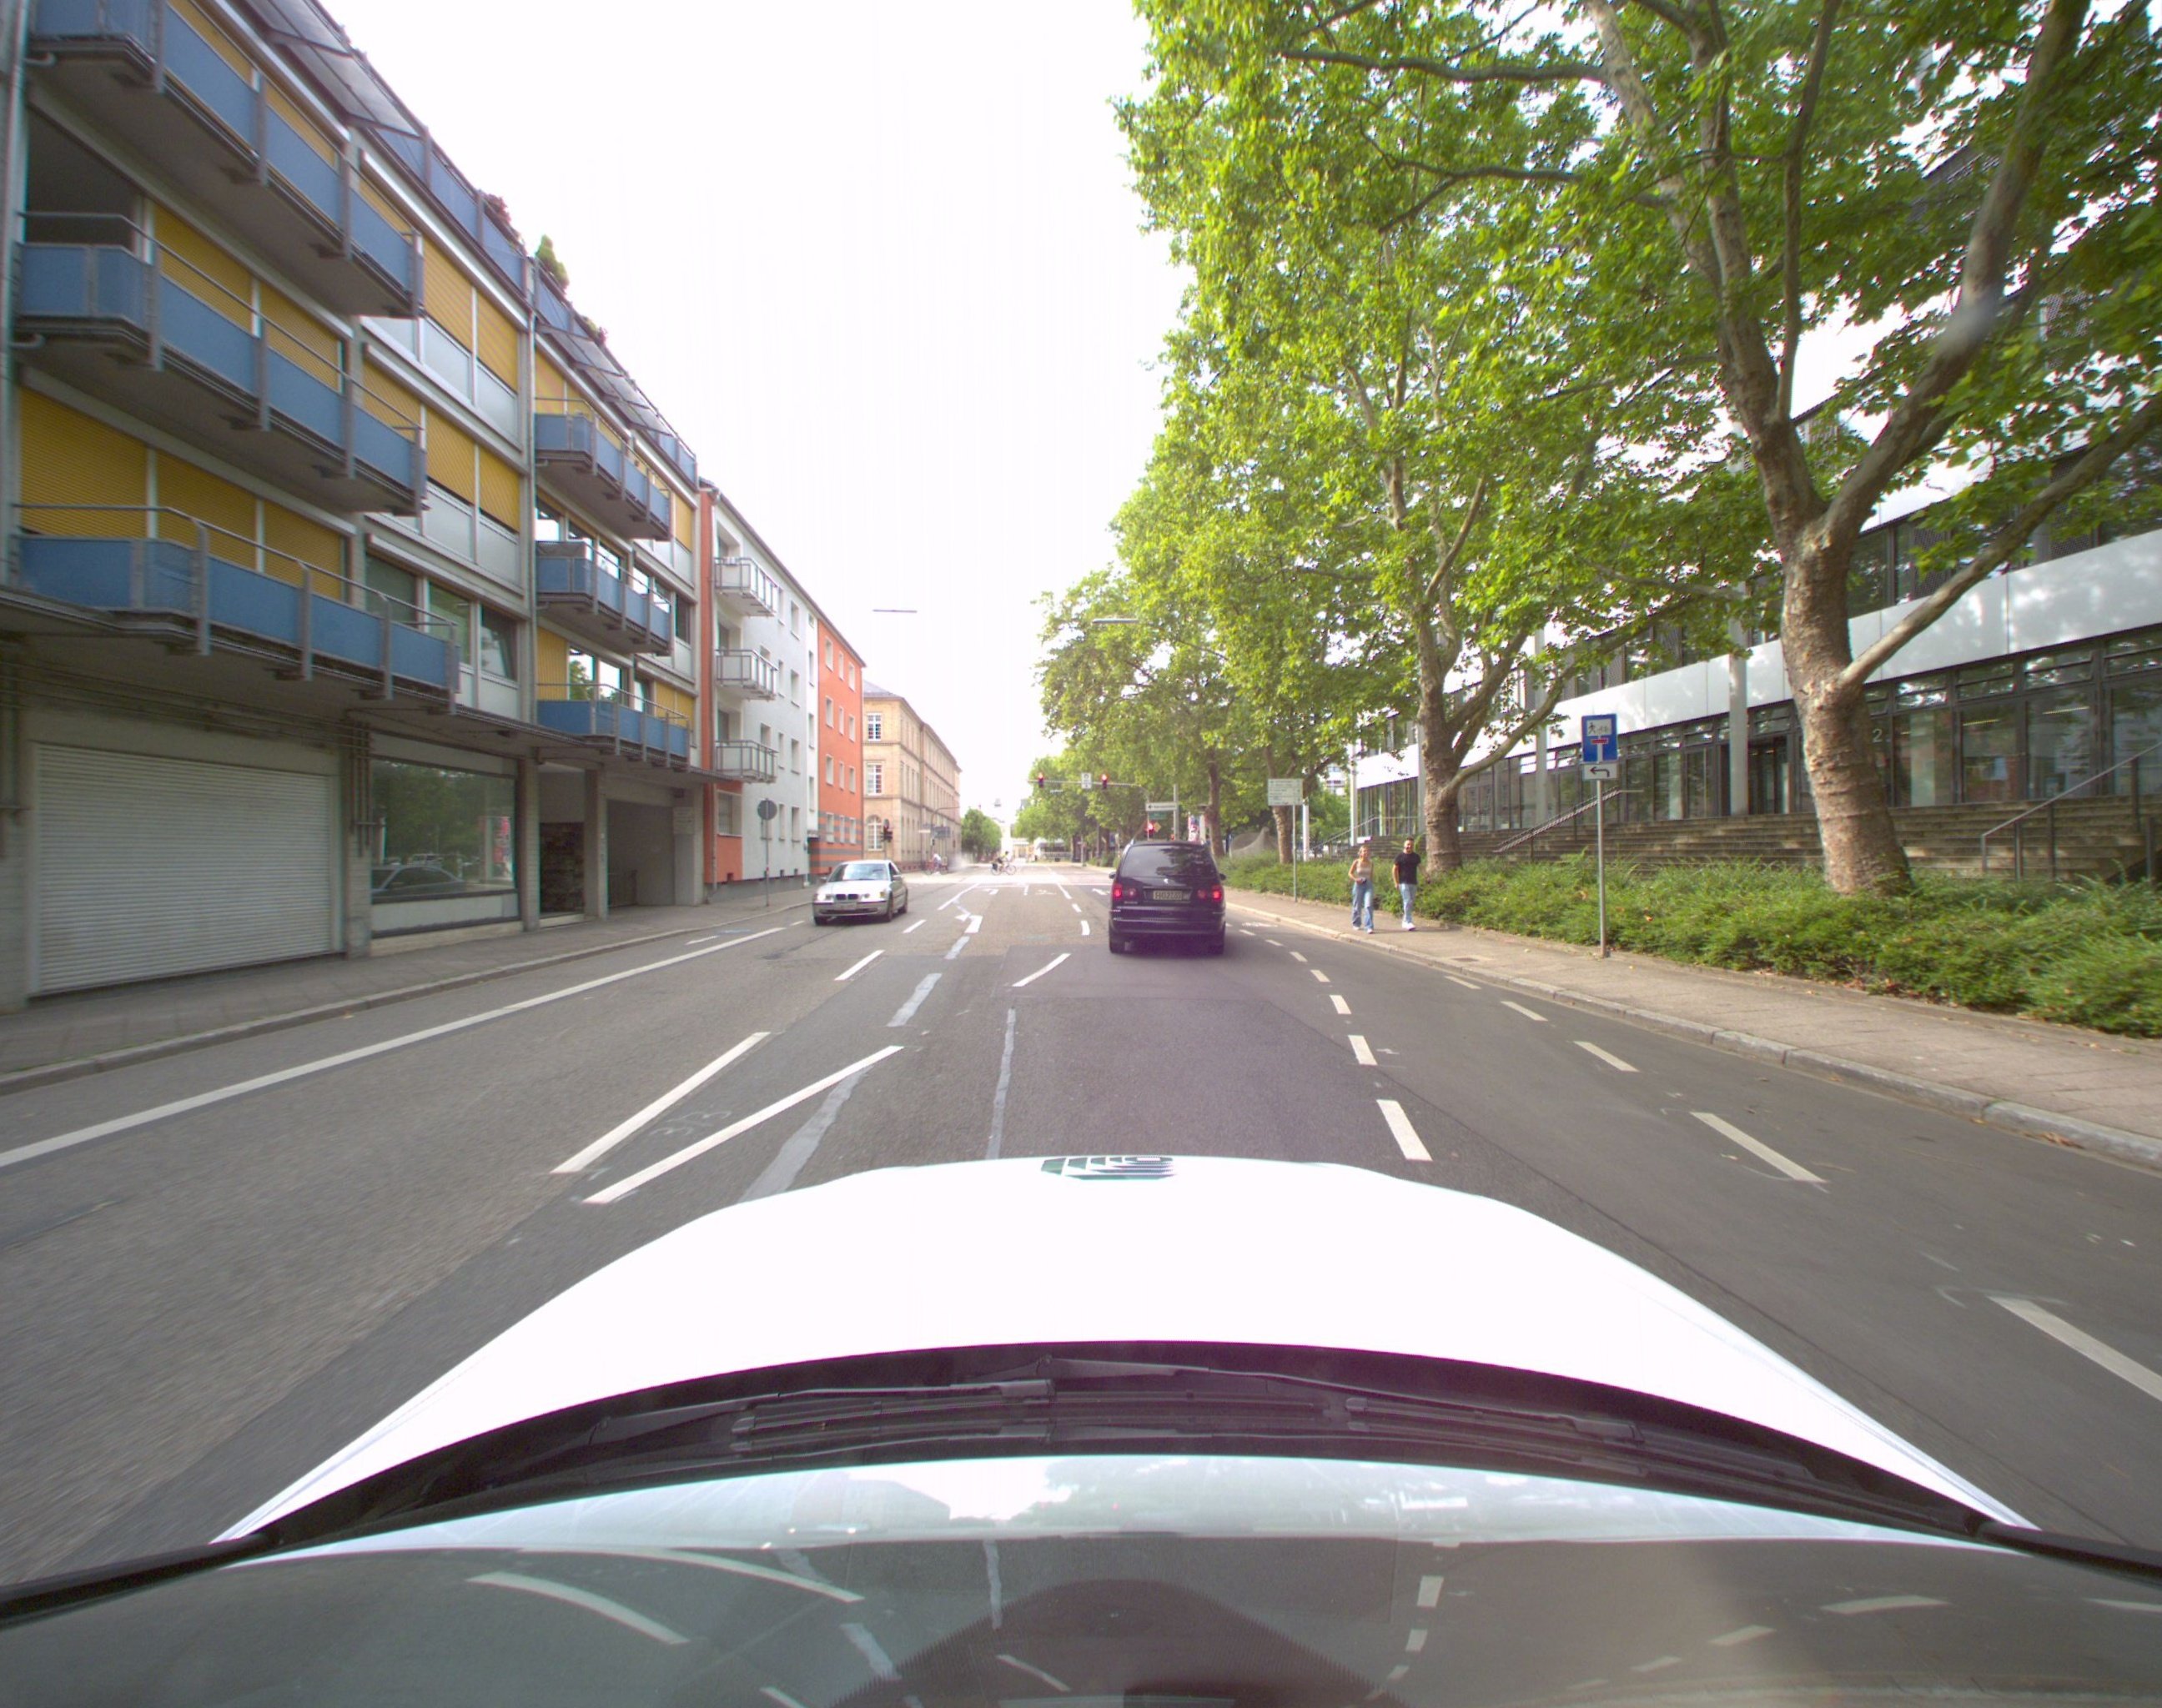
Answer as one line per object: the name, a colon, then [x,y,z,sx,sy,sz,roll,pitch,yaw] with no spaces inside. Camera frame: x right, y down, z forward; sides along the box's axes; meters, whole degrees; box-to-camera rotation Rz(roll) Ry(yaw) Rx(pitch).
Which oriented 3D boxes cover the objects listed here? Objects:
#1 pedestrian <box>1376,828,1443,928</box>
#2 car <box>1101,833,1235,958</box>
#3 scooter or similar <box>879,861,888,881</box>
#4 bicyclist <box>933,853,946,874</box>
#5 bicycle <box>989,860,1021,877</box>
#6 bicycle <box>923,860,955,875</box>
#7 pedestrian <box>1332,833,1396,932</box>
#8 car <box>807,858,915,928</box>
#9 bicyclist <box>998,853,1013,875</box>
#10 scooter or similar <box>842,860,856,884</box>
pedestrian: [6.214,0.450,15.444,0.713,1.800,1.032,-3,-1,-5]
car: [1.524,0.578,13.783,1.863,1.745,4.583,0,0,7]
scooter or similar: [-11.564,0.974,47.606,0.377,1.144,1.139,-1,-2,-7]
bicyclist: [-10.485,0.697,60.317,0.914,1.493,0.625,-1,0,-8]
bicycle: [-5.101,0.954,54.656,2.020,1.094,0.625,-1,0,-13]
bicycle: [-10.508,1.011,60.320,2.233,1.094,0.625,-1,0,-9]
pedestrian: [5.352,0.524,15.458,0.709,1.783,1.032,-3,-1,-5]
car: [-5.231,0.855,19.866,1.754,1.427,4.092,-2,0,-4]
bicyclist: [-5.051,0.666,54.673,0.915,1.514,0.624,-1,0,-12]
scooter or similar: [-11.661,0.899,40.906,0.377,1.184,1.388,-1,-2,-3]
